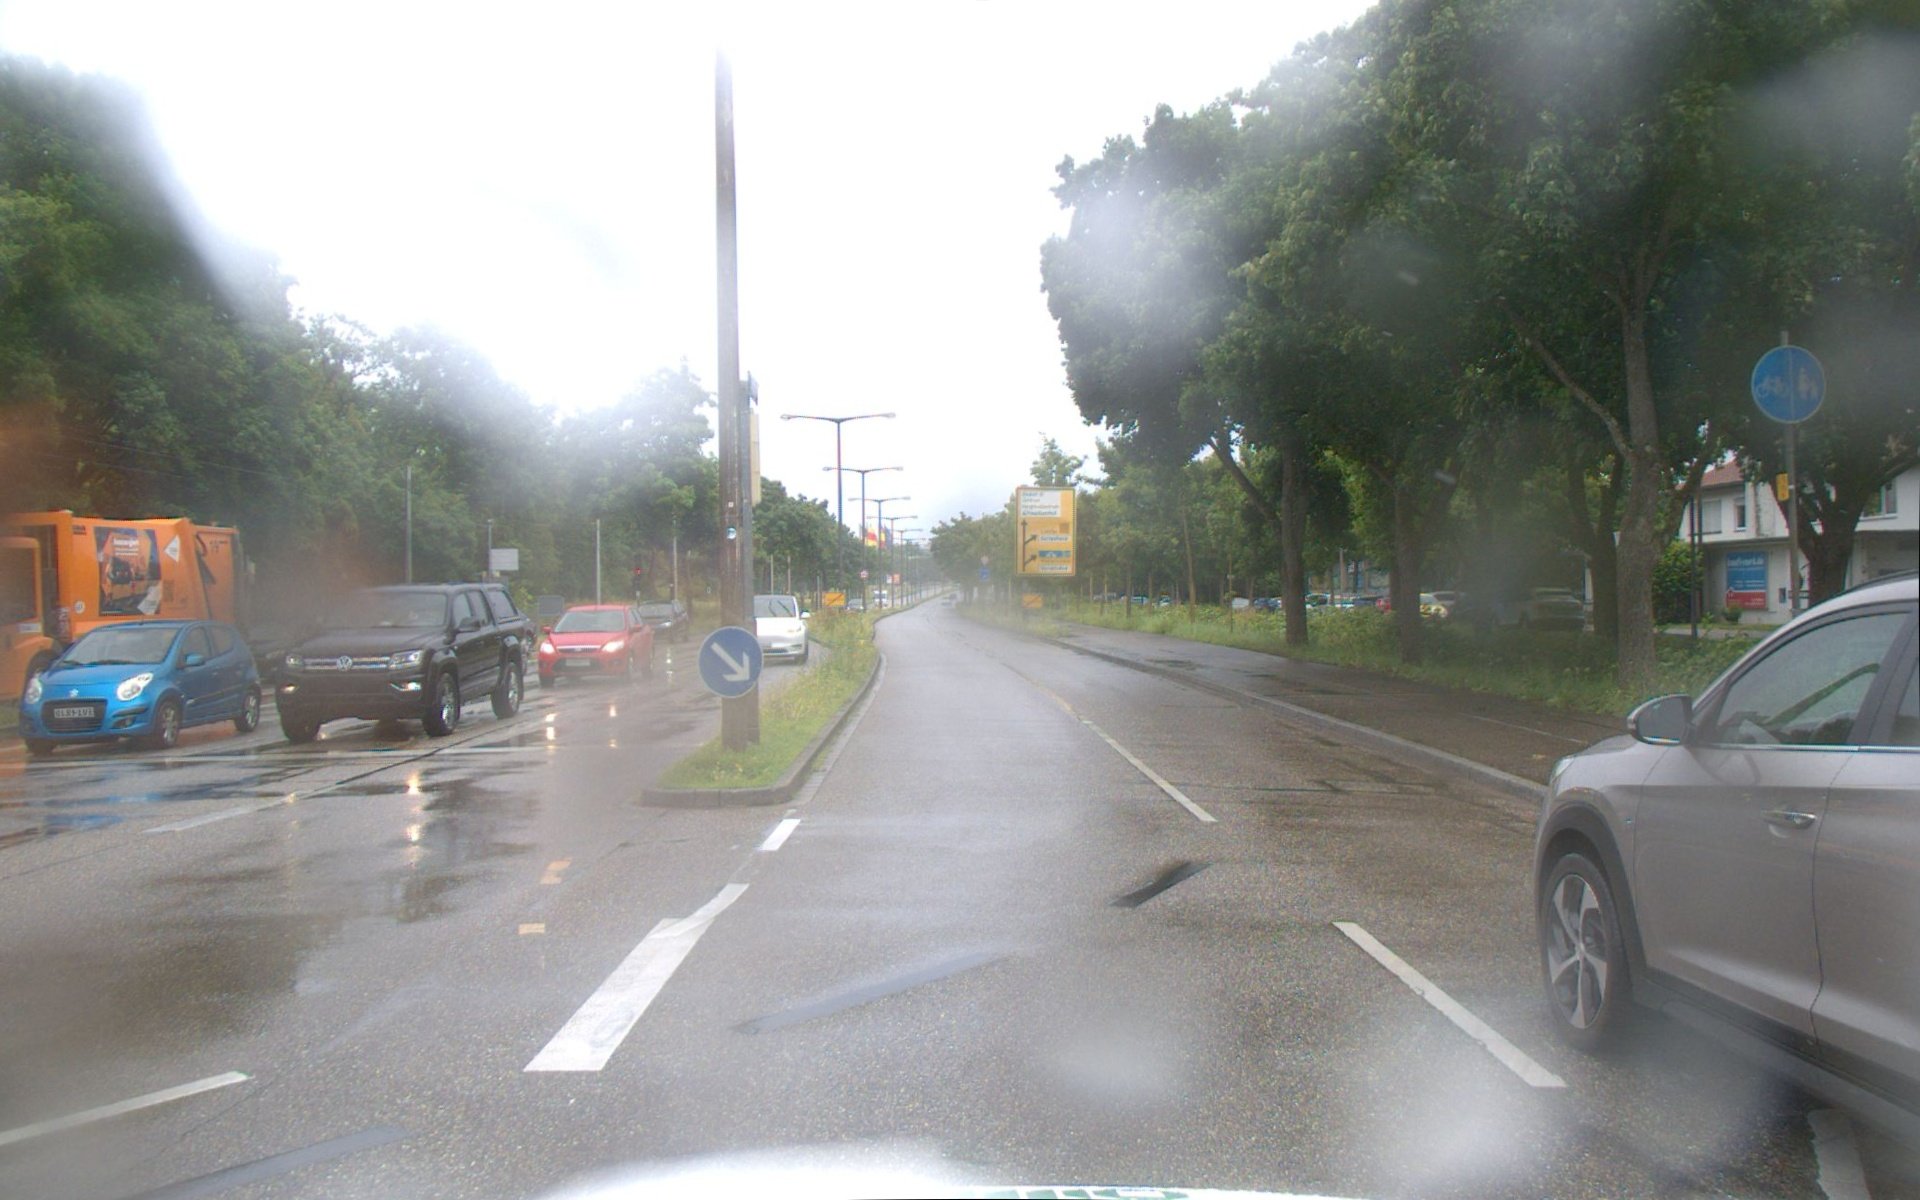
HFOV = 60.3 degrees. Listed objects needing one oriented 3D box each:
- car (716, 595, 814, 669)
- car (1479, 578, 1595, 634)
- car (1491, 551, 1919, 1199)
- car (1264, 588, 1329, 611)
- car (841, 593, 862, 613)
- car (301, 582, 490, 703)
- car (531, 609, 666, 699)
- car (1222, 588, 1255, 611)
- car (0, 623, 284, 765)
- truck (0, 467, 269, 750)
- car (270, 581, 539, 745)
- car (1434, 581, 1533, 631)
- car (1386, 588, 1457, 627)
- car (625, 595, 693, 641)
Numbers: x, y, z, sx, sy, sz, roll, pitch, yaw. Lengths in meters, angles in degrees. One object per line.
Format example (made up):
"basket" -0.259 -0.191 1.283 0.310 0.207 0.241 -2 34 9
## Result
"car" -4.751 0.737 40.847 1.921 1.645 4.696 -1 0 -1
"car" 19.269 0.199 55.488 1.954 1.747 4.876 -1 0 -3
"car" 3.132 0.717 4.693 1.846 1.639 4.194 0 0 -1
"car" 25.840 -0.017 127.205 4.482 1.674 1.997 1 -1 -7
"car" -9.867 0.261 151.021 1.708 1.679 4.135 -3 0 -2
"car" -10.379 0.716 30.811 1.890 2.053 4.742 -1 0 -1
"car" -7.108 1.034 32.901 1.765 1.597 4.427 -2 -1 -2
"car" 19.045 -0.044 113.194 1.708 1.470 4.123 -1 2 2
"car" -9.862 1.066 20.270 1.608 1.452 3.998 -3 0 -3
"truck" -16.130 0.133 29.443 3.316 4.240 10.404 1 0 -1
"car" -6.961 0.706 21.351 1.769 1.804 5.088 -2 0 -1
"car" 19.266 0.232 61.111 1.954 1.747 4.639 -1 0 -3
"car" 19.176 0.320 68.876 1.604 1.512 4.070 1 0 -3
"car" -11.790 0.687 65.008 1.671 1.670 4.332 -2 0 2
